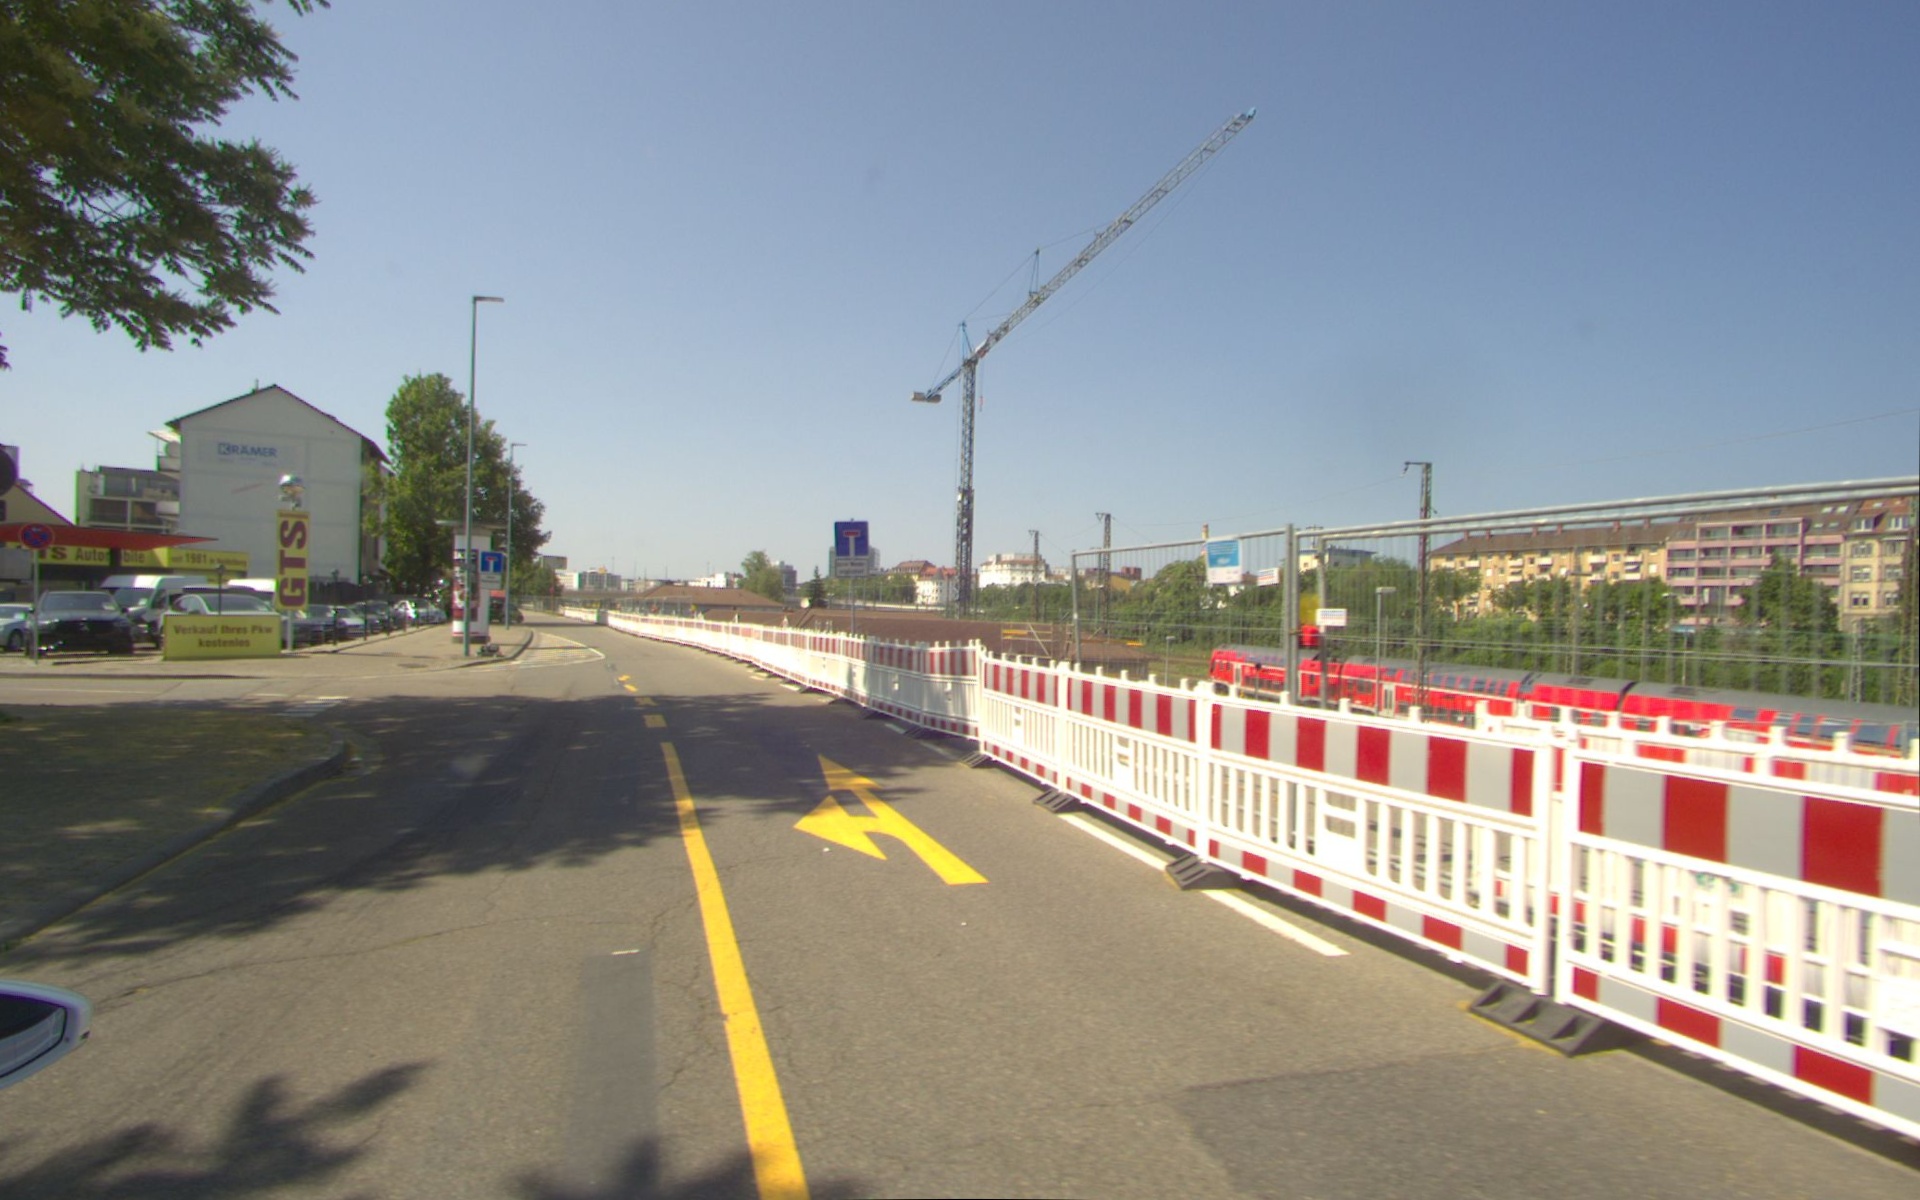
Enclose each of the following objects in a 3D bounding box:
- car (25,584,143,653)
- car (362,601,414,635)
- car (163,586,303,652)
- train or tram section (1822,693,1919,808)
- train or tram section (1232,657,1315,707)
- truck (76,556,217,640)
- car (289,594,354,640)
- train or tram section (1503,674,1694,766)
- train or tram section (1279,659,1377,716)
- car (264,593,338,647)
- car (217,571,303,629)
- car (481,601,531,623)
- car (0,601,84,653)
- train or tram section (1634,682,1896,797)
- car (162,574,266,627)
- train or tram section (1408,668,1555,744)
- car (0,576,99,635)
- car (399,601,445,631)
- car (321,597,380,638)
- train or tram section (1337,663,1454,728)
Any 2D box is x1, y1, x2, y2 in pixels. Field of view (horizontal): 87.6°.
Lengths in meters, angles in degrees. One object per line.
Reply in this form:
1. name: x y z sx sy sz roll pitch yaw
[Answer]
1. car: -23.082 0.482 26.342 2.035 1.614 4.378 4 -3 -45
2. car: -29.737 0.927 51.993 1.840 1.650 3.970 3 -1 -36
3. car: -21.033 0.549 28.931 3.944 1.747 1.990 1 -2 34
4. train or tram section: 34.676 5.353 33.545 2.967 3.749 8.973 4 -2 -7
5. train or tram section: 27.032 7.006 86.848 2.969 3.749 8.970 4 -2 -10
6. truck: -31.822 -0.032 39.448 2.238 2.940 5.930 3 -2 -19
7. car: -24.731 0.625 38.740 1.840 1.650 3.970 3 -1 -36
8. train or tram section: 32.339 5.950 51.313 2.968 3.749 8.972 4 -2 -8
9. train or tram section: 28.477 6.721 77.990 2.968 3.749 8.971 4 -2 -9
10. car: -22.184 0.648 33.667 1.840 1.650 3.970 3 -1 -36
11. car: -30.462 0.012 43.727 2.109 2.314 4.695 2 -1 -23
12. car: -36.475 0.969 80.552 1.699 1.658 3.271 1 -2 27
13. car: -29.277 0.804 30.849 1.761 1.506 3.996 3 -2 -14
14. train or tram section: 33.551 5.664 42.408 2.967 3.749 8.973 4 -2 -7
15. car: -28.271 0.056 38.113 1.852 1.760 4.709 3 -2 -21
16. train or tram section: 31.060 6.214 60.223 2.968 3.749 8.972 4 -2 -8
17. car: -34.653 0.223 37.663 1.967 2.039 4.483 3 -2 -21
18. car: -32.111 0.948 59.756 1.840 1.650 3.970 3 -1 -36
19. car: -26.790 0.740 43.933 1.840 1.650 3.970 3 -1 -36
20. train or tram section: 29.777 6.460 69.079 2.968 3.749 8.972 4 -2 -8
